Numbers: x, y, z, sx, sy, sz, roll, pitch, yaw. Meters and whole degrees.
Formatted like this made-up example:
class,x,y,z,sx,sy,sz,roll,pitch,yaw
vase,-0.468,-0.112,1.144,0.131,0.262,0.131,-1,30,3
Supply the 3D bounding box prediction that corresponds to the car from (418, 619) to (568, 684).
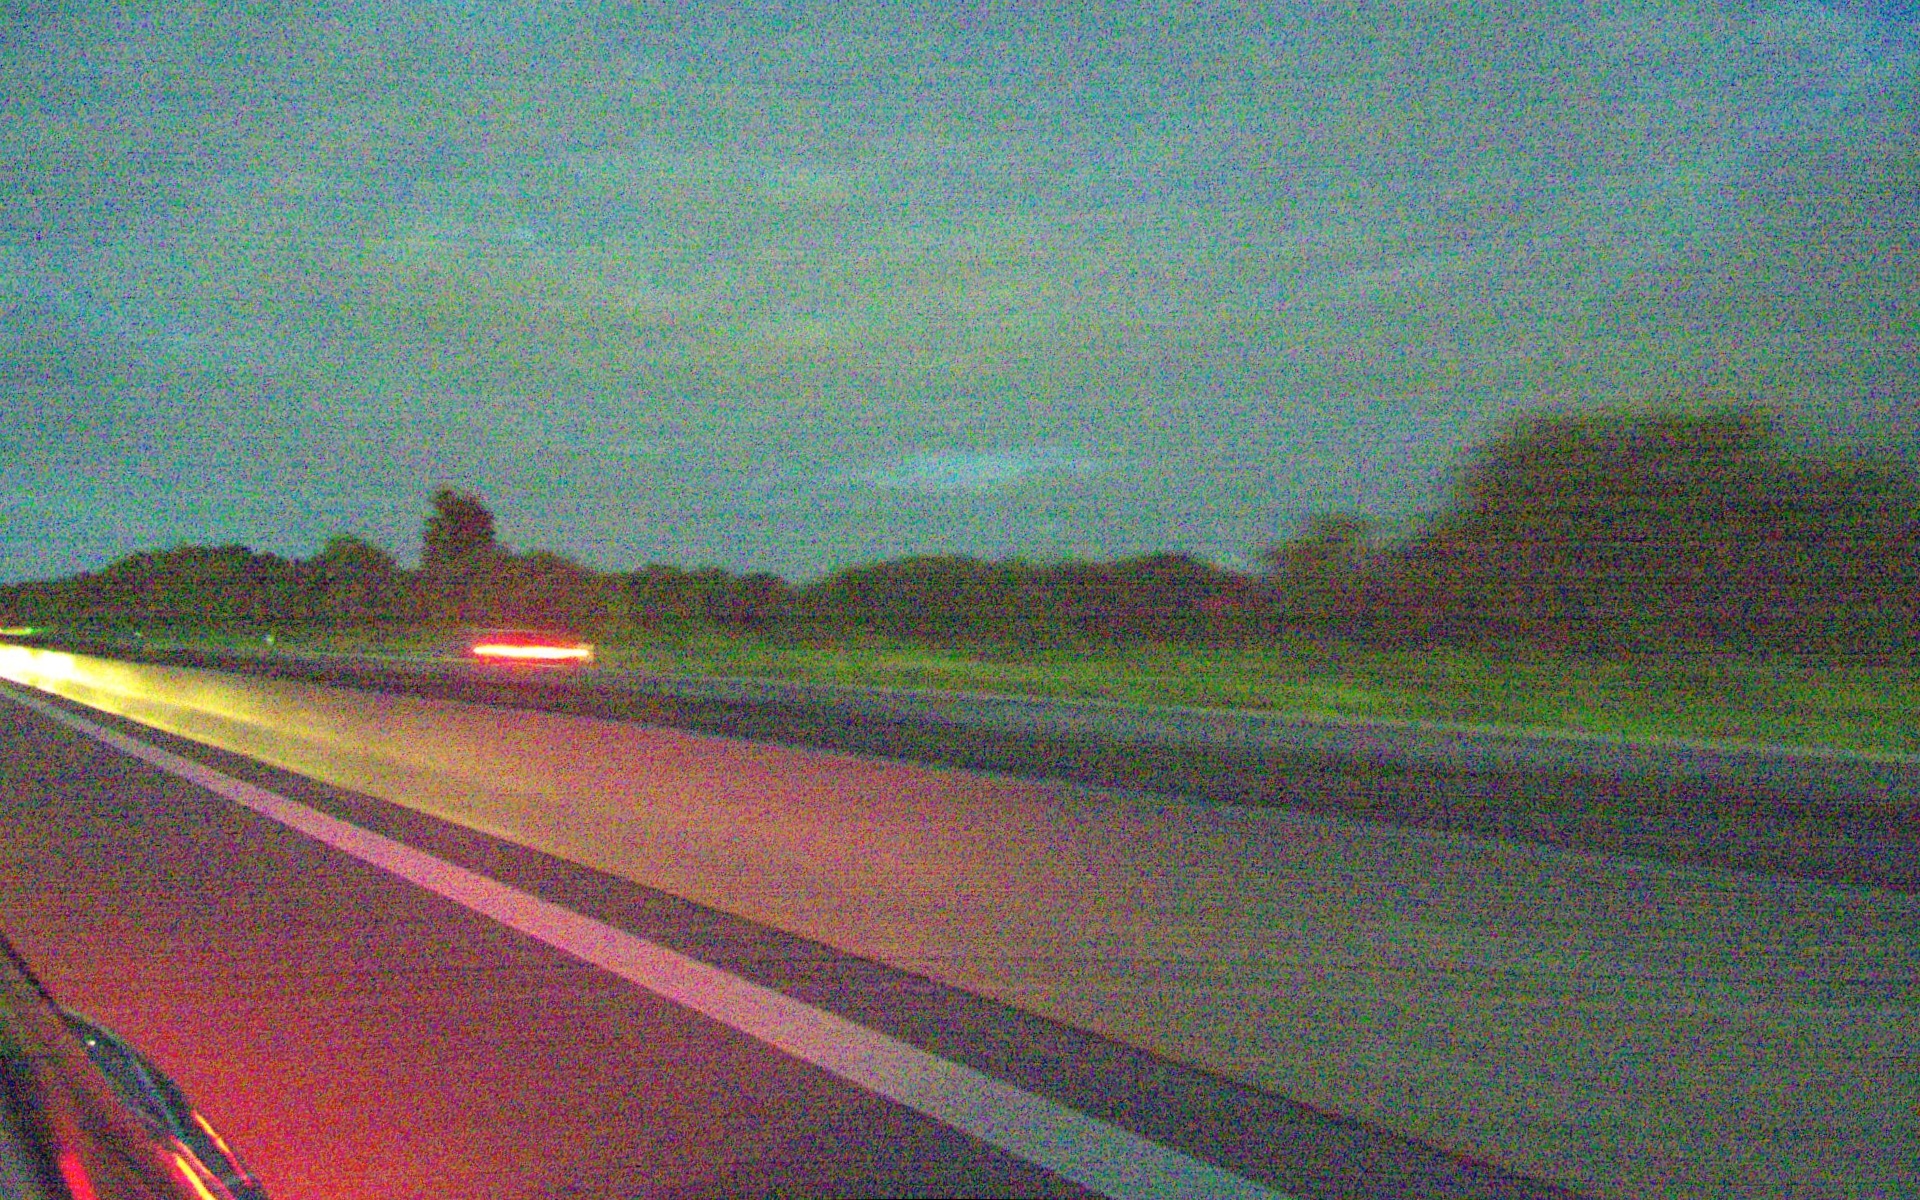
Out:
class,x,y,z,sx,sy,sz,roll,pitch,yaw
car,-13.236,1.406,28.522,5.297,1.655,1.883,-1,-3,42
